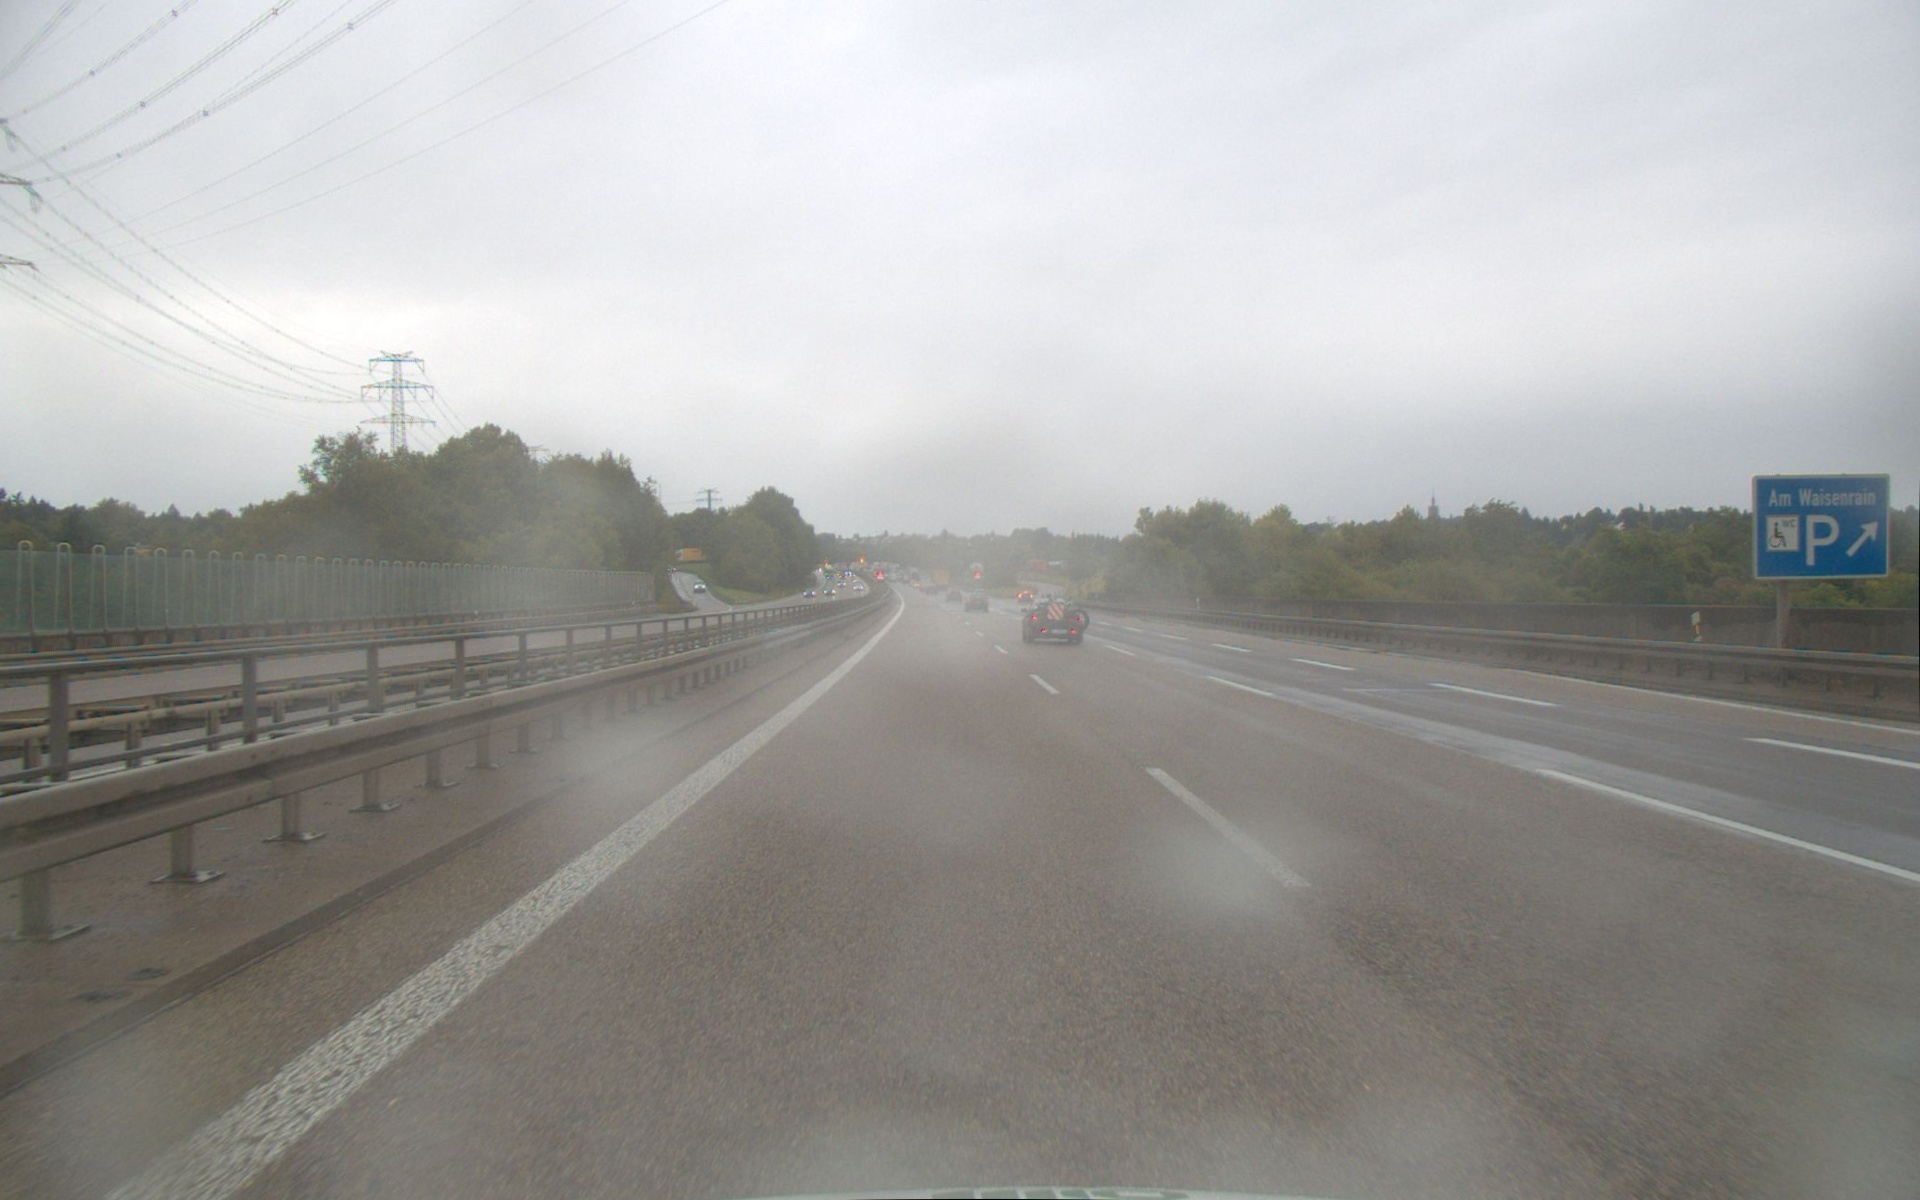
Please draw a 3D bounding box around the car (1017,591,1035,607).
[{"bbox_3d":[7.505,-0.152,188.151,1.882,1.739,4.002,-1,1,3],"label":"car"}]

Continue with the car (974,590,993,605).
[{"bbox_3d":[2.861,-0.311,198.805,1.954,1.791,3.998,-1,1,-4],"label":"car"}]

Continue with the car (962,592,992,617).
[{"bbox_3d":[1.289,0.329,127.986,1.954,1.791,3.998,-1,1,-4],"label":"car"}]

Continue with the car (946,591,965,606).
[{"bbox_3d":[-0.546,-0.167,188.456,1.954,1.657,3.998,-1,1,-4],"label":"car"}]

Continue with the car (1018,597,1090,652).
[{"bbox_3d":[3.019,0.754,54.108,2.015,1.700,5.521,0,0,0],"label":"car"}]
